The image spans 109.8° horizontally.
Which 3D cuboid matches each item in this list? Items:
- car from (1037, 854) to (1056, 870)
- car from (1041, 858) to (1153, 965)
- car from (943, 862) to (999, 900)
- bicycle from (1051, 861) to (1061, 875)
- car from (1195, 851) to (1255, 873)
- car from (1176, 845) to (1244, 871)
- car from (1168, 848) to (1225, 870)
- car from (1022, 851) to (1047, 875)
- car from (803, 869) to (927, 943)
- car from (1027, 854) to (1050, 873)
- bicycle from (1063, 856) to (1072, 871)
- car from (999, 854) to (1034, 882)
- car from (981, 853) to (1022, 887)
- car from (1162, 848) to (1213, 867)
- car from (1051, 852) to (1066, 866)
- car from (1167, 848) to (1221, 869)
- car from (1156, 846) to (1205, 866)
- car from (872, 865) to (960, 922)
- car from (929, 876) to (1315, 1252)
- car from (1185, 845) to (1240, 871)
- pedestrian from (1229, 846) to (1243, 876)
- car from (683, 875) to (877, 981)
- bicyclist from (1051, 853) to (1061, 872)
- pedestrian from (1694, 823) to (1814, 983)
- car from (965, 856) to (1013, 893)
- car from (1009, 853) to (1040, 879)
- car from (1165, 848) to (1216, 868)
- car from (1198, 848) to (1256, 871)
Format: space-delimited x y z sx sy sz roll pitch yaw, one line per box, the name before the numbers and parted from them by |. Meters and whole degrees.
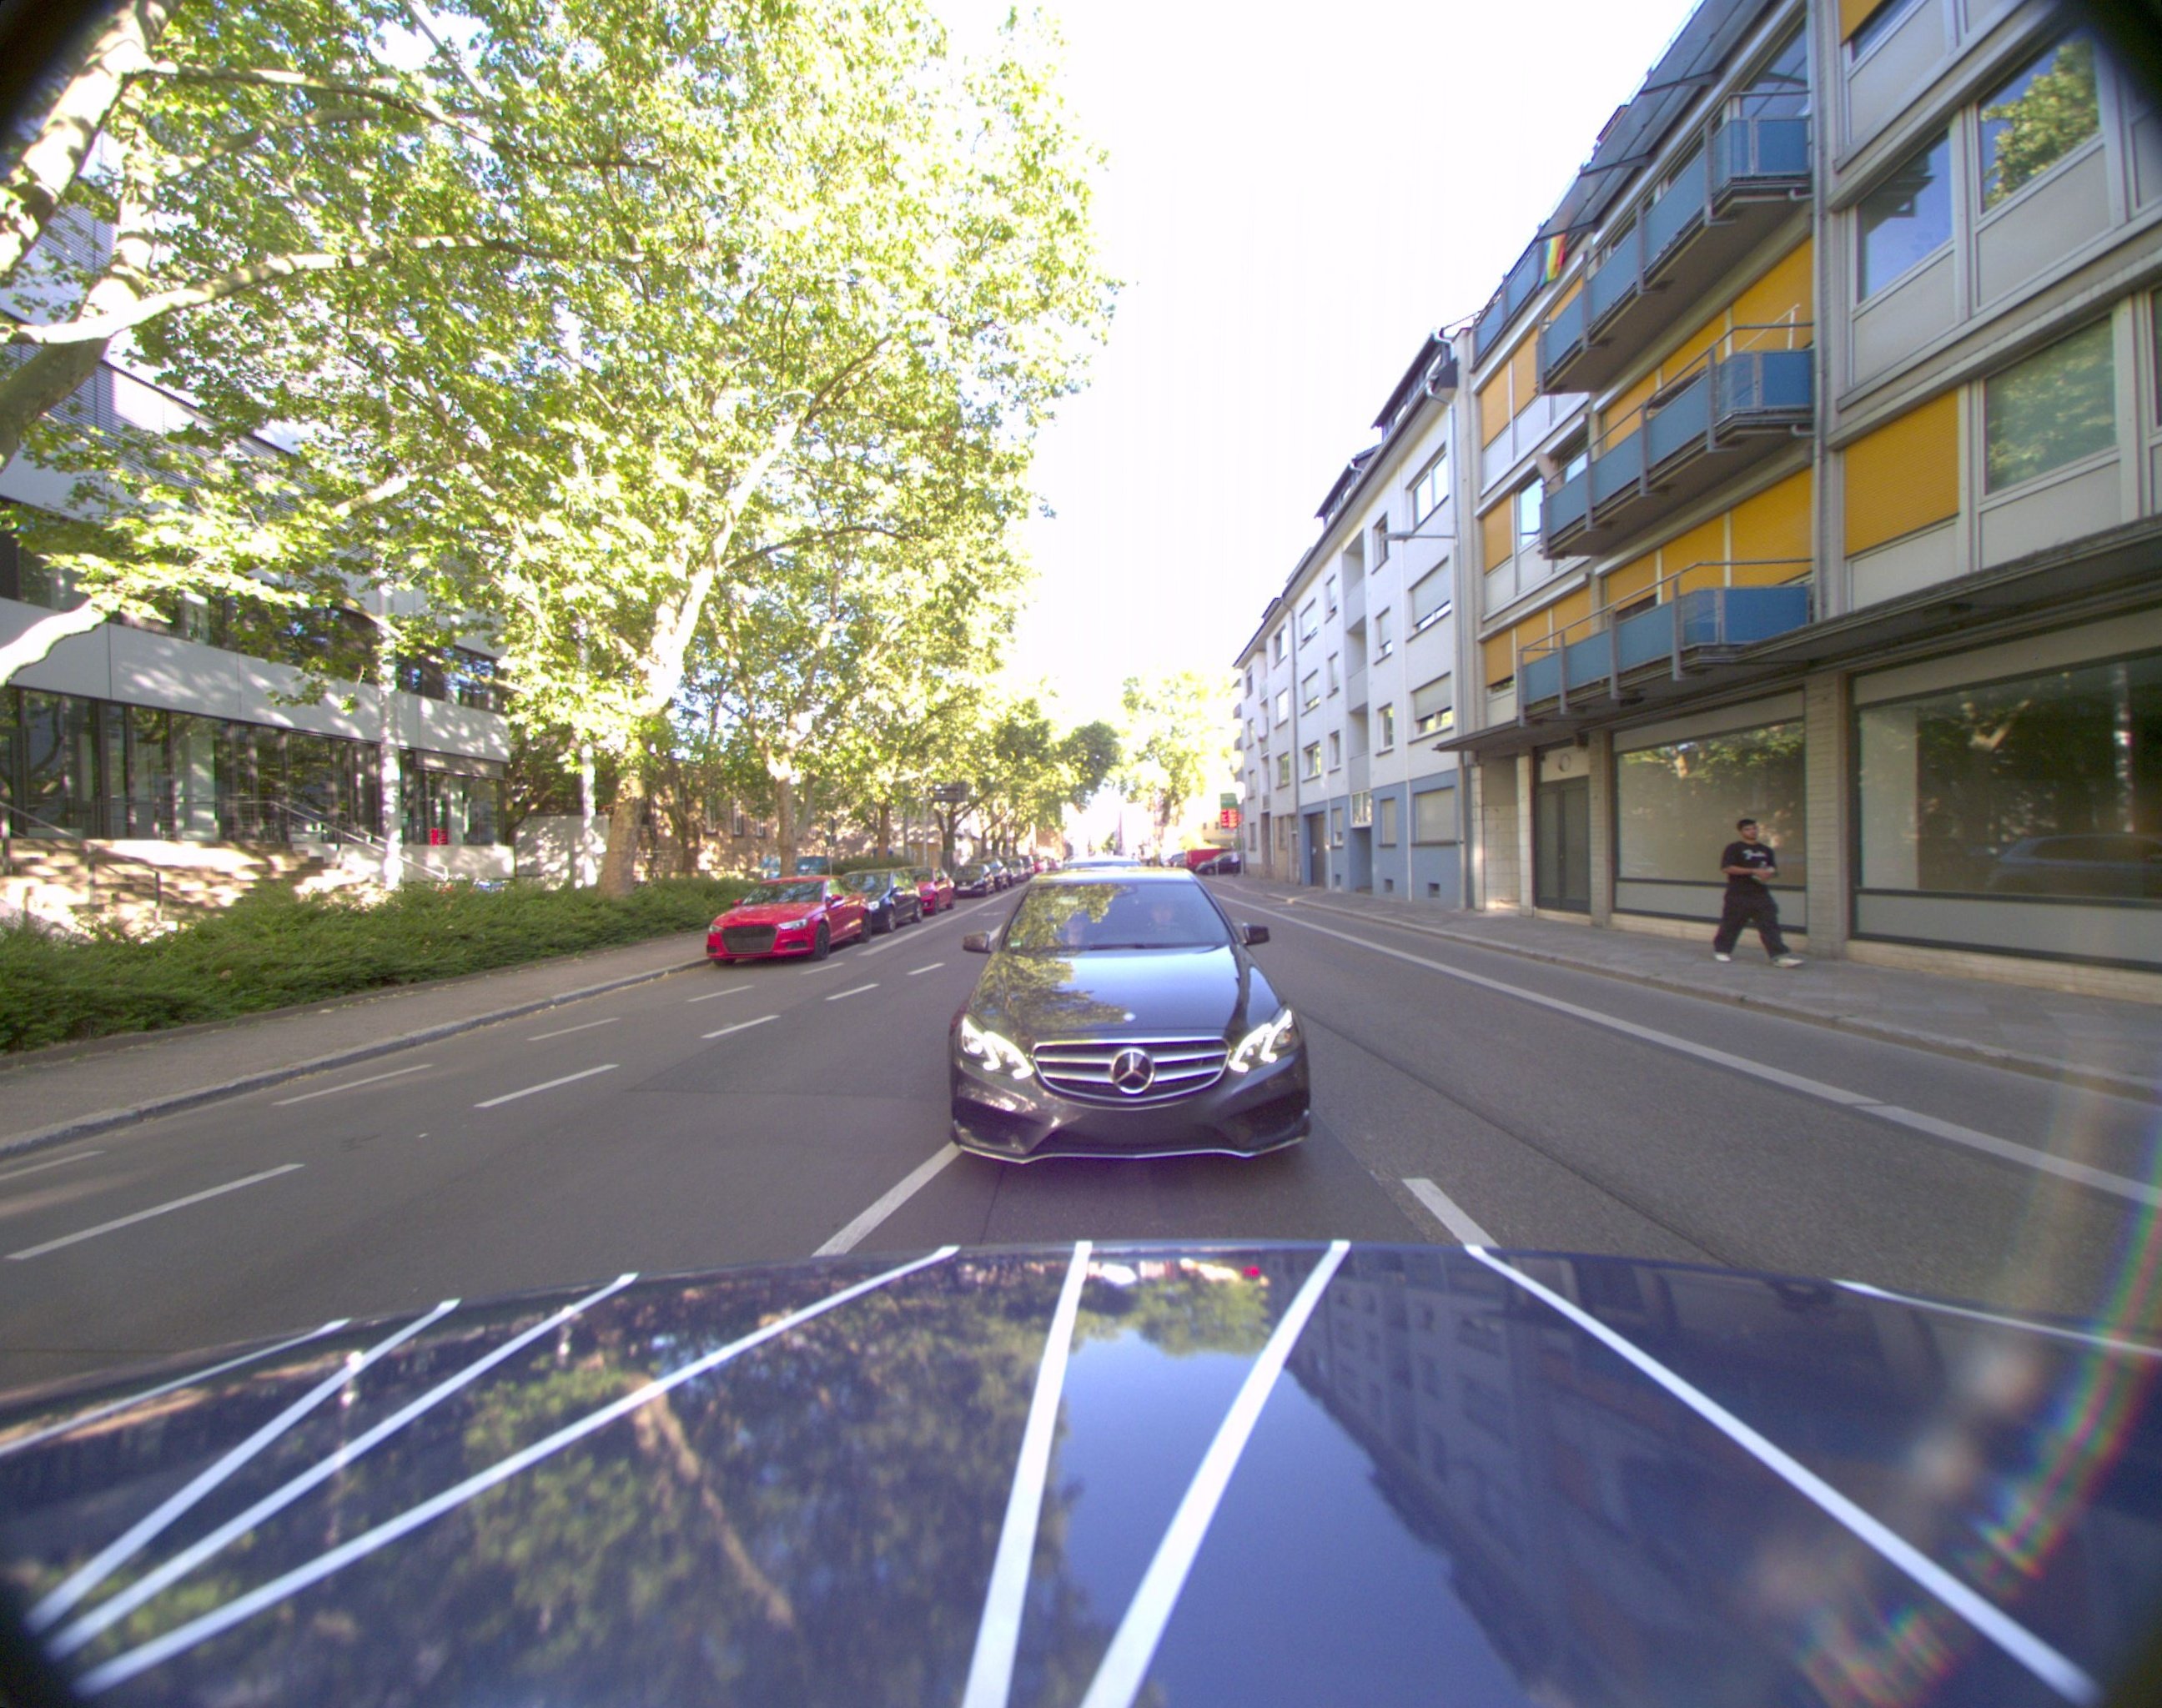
car | -3.778 0.880 83.506 1.755 1.652 4.447 -3 0 1
car | 0.268 0.889 13.601 1.667 1.563 4.000 -1 0 1
car | -4.752 1.124 33.285 1.755 1.424 3.909 -3 0 1
bicycle | -1.924 1.077 58.708 0.650 1.053 1.595 -2 0 1
car | 10.354 0.566 54.772 3.997 1.412 1.743 -2 0 1
car | 10.634 0.298 63.096 5.223 1.969 2.257 -2 0 1
car | 11.097 0.448 73.512 5.143 1.926 2.187 -2 0 1
car | -3.999 0.737 66.381 1.755 1.941 4.447 -3 0 1
car | -5.087 1.177 18.434 1.755 1.424 3.909 -3 0 1
car | -4.005 0.912 72.166 1.755 1.652 4.447 -3 0 1
bicycle | -1.045 0.727 58.540 0.574 1.053 1.595 -2 0 1
car | -4.275 0.887 50.936 1.755 1.718 4.447 -3 0 1
car | -4.556 0.877 44.054 1.755 1.810 4.447 -3 0 1
car | 11.320 0.353 81.176 5.042 1.926 2.315 -2 0 1
car | -3.017 0.661 103.194 1.755 1.652 4.447 -3 0 1
car | 11.270 0.409 76.213 5.054 1.926 2.161 -2 0 1
car | 11.187 0.207 85.512 5.143 2.135 2.187 -2 0 1
car | -5.037 1.151 23.647 1.755 1.459 3.909 -3 0 1
car | 0.209 0.985 5.348 1.667 1.499 4.000 -1 0 1
car | 10.329 0.304 60.072 3.997 1.926 1.867 -2 0 1
pedestrian | 9.159 0.424 45.002 0.608 1.737 0.756 -2 1 1
car | -5.127 1.186 13.588 1.755 1.400 4.000 -3 0 1
bicyclist | -1.930 0.651 58.669 0.650 1.427 0.741 -2 1 1
pedestrian | 7.832 0.545 8.878 0.663 1.761 0.793 -2 1 1
car | -4.565 0.982 38.255 1.755 1.644 4.174 -3 0 1
car | -4.104 0.830 55.747 1.755 1.753 4.447 -3 0 1
car | 11.284 0.378 78.711 4.991 1.926 2.083 -2 0 1
car | 10.910 0.395 56.982 3.997 1.552 1.743 -2 0 1
